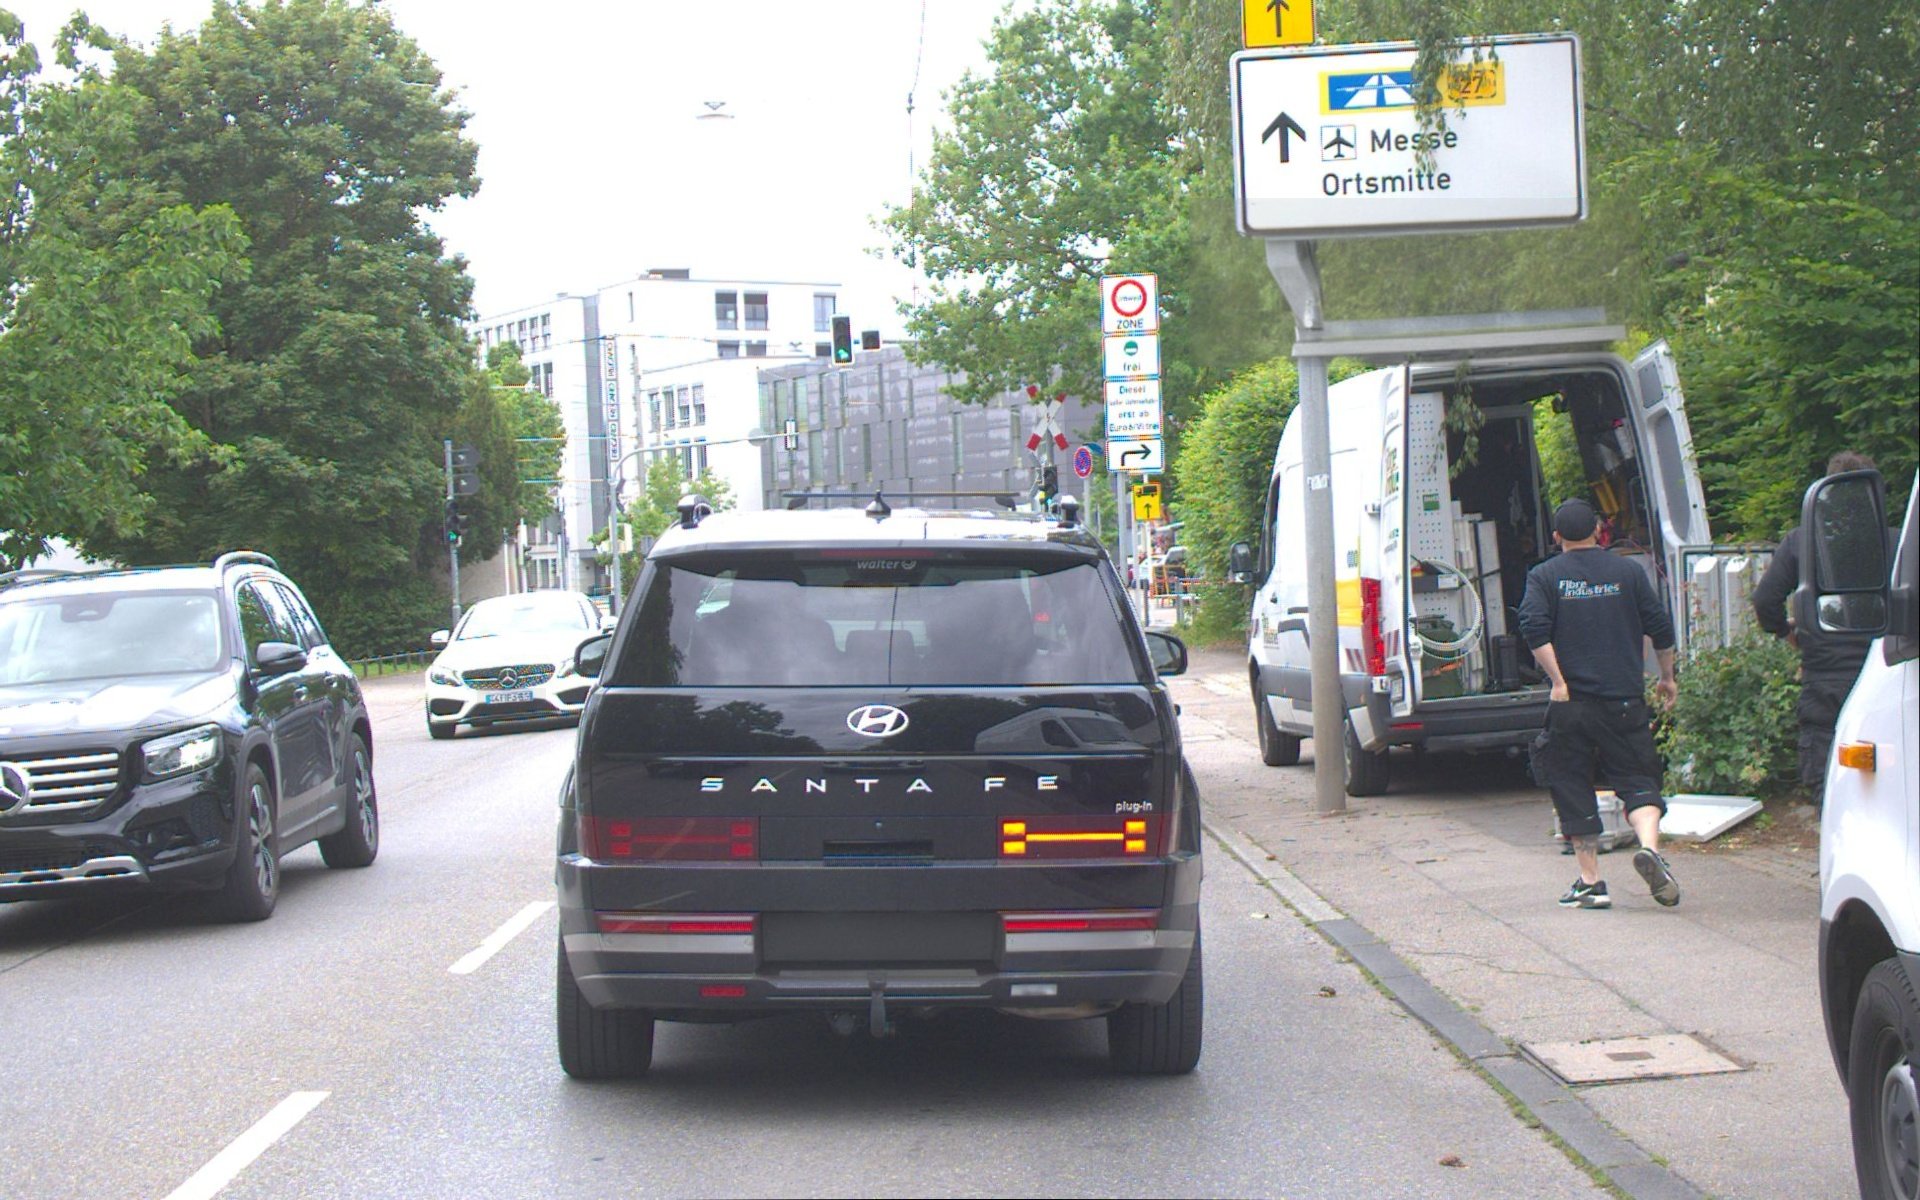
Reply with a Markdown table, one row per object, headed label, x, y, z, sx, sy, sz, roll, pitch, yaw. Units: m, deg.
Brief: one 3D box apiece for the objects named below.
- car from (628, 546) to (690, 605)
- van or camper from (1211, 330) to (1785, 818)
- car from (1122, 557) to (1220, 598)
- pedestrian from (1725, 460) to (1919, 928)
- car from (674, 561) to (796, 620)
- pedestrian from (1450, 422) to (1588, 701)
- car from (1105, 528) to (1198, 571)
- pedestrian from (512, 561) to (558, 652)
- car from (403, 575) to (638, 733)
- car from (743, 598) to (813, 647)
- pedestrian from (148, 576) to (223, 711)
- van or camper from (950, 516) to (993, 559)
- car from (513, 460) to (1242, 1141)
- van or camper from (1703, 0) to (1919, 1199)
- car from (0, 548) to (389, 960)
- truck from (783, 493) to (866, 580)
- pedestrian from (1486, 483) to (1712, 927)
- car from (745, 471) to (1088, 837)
| label | x | y | z | sx | sy | sz | roll | pitch | yaw |
| --- | --- | --- | --- | --- | --- | --- | --- | --- | --- |
| car | -12.374 | -1.017 | 141.032 | 2.332 | 2.307 | 4.959 | -2 | 0 | -6 |
| van or camper | 3.192 | -0.119 | 22.146 | 2.340 | 2.486 | 6.603 | -5 | 0 | -1 |
| car | 8.772 | -0.958 | 143.194 | 3.987 | 1.578 | 1.889 | -2 | 0 | 3 |
| pedestrian | 3.341 | 0.355 | 13.252 | 0.647 | 1.745 | 0.655 | -2 | 0 | 6 |
| car | -6.136 | -0.275 | 94.249 | 1.839 | 1.533 | 4.264 | -1 | 1 | 18 |
| pedestrian | 3.404 | -0.230 | 20.961 | 0.736 | 1.638 | 0.801 | -3 | 0 | 9 |
| car | 7.674 | -2.015 | 137.844 | 3.642 | 1.578 | 1.751 | -2 | 0 | 3 |
| pedestrian | -9.510 | 0.146 | 76.935 | 0.830 | 2.007 | 1.047 | 1 | 0 | 2 |
| car | -4.551 | 0.522 | 36.286 | 1.814 | 1.414 | 4.829 | -5 | 0 | -1 |
| car | -5.671 | 0.683 | 106.763 | 1.883 | 1.415 | 4.001 | -2 | 1 | -6 |
| pedestrian | -10.123 | 0.565 | 44.943 | 0.767 | 1.742 | 0.904 | 0 | 0 | 0 |
| van or camper | 0.560 | -3.072 | 169.381 | 1.795 | 1.992 | 3.824 | 1 | 0 | -4 |
| car | -0.235 | 0.525 | 11.128 | 1.897 | 1.770 | 3.994 | 1 | 0 | 0 |
| van or camper | 2.664 | 0.054 | 3.883 | 1.991 | 2.616 | 6.544 | -4 | 0 | 0 |
| car | -4.011 | 0.657 | 16.266 | 1.880 | 1.639 | 4.128 | -4 | 0 | -1 |
| truck | -6.432 | -2.933 | 161.827 | 3.107 | 3.846 | 9.623 | -2 | 0 | -6 |
| pedestrian | 2.579 | 0.418 | 13.950 | 0.750 | 1.715 | 0.791 | -3 | -1 | 6 |
| car | -0.264 | 0.299 | 21.459 | 1.897 | 2.035 | 3.994 | 1 | 0 | 0 |
